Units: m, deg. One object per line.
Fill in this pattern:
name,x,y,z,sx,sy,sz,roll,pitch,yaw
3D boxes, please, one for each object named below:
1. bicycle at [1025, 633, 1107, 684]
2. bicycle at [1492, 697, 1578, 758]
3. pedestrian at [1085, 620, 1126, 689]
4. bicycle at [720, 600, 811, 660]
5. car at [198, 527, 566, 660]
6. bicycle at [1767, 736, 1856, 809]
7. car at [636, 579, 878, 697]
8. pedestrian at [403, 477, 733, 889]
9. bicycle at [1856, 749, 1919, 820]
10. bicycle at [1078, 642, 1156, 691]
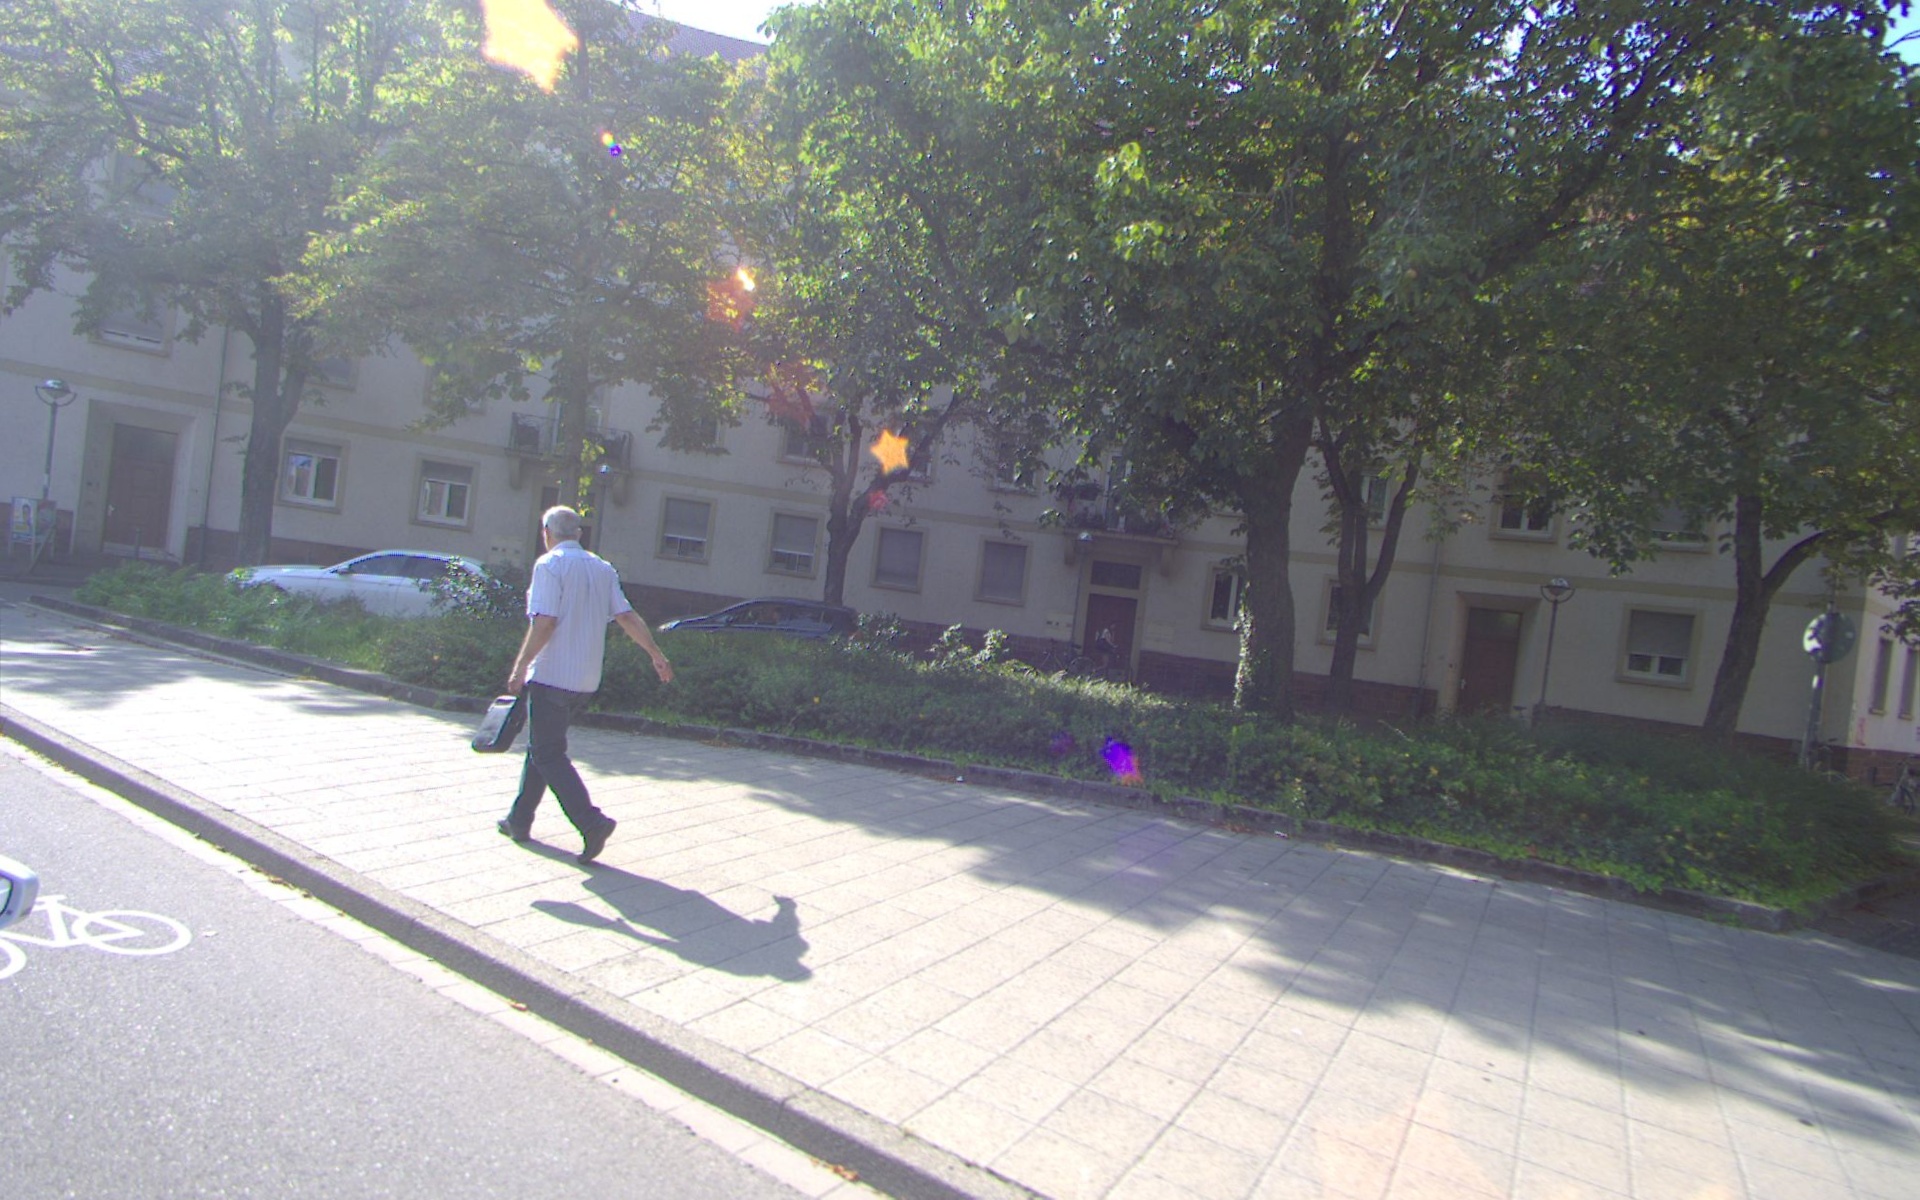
bicycle,2.633,1.440,24.967,1.873,1.019,0.534,7,0,12
bicycle,12.269,2.708,21.473,1.465,1.073,0.416,6,0,36
pedestrian,3.825,1.423,26.434,0.850,1.692,0.688,7,0,10
bicycle,-4.425,0.684,22.975,1.806,1.071,0.608,9,0,0
car,-9.285,-0.112,16.668,4.880,1.488,1.868,7,2,-17
bicycle,15.612,3.128,18.487,0.597,1.071,1.869,7,-1,23
car,-3.475,0.633,17.777,3.819,1.470,1.750,8,1,-2
pedestrian,-1.932,0.349,5.023,0.953,1.748,1.077,7,3,31
bicycle,16.297,3.201,17.404,1.821,1.071,0.603,8,0,-32
bicycle,4.075,1.715,26.142,1.873,1.019,0.534,7,0,12
